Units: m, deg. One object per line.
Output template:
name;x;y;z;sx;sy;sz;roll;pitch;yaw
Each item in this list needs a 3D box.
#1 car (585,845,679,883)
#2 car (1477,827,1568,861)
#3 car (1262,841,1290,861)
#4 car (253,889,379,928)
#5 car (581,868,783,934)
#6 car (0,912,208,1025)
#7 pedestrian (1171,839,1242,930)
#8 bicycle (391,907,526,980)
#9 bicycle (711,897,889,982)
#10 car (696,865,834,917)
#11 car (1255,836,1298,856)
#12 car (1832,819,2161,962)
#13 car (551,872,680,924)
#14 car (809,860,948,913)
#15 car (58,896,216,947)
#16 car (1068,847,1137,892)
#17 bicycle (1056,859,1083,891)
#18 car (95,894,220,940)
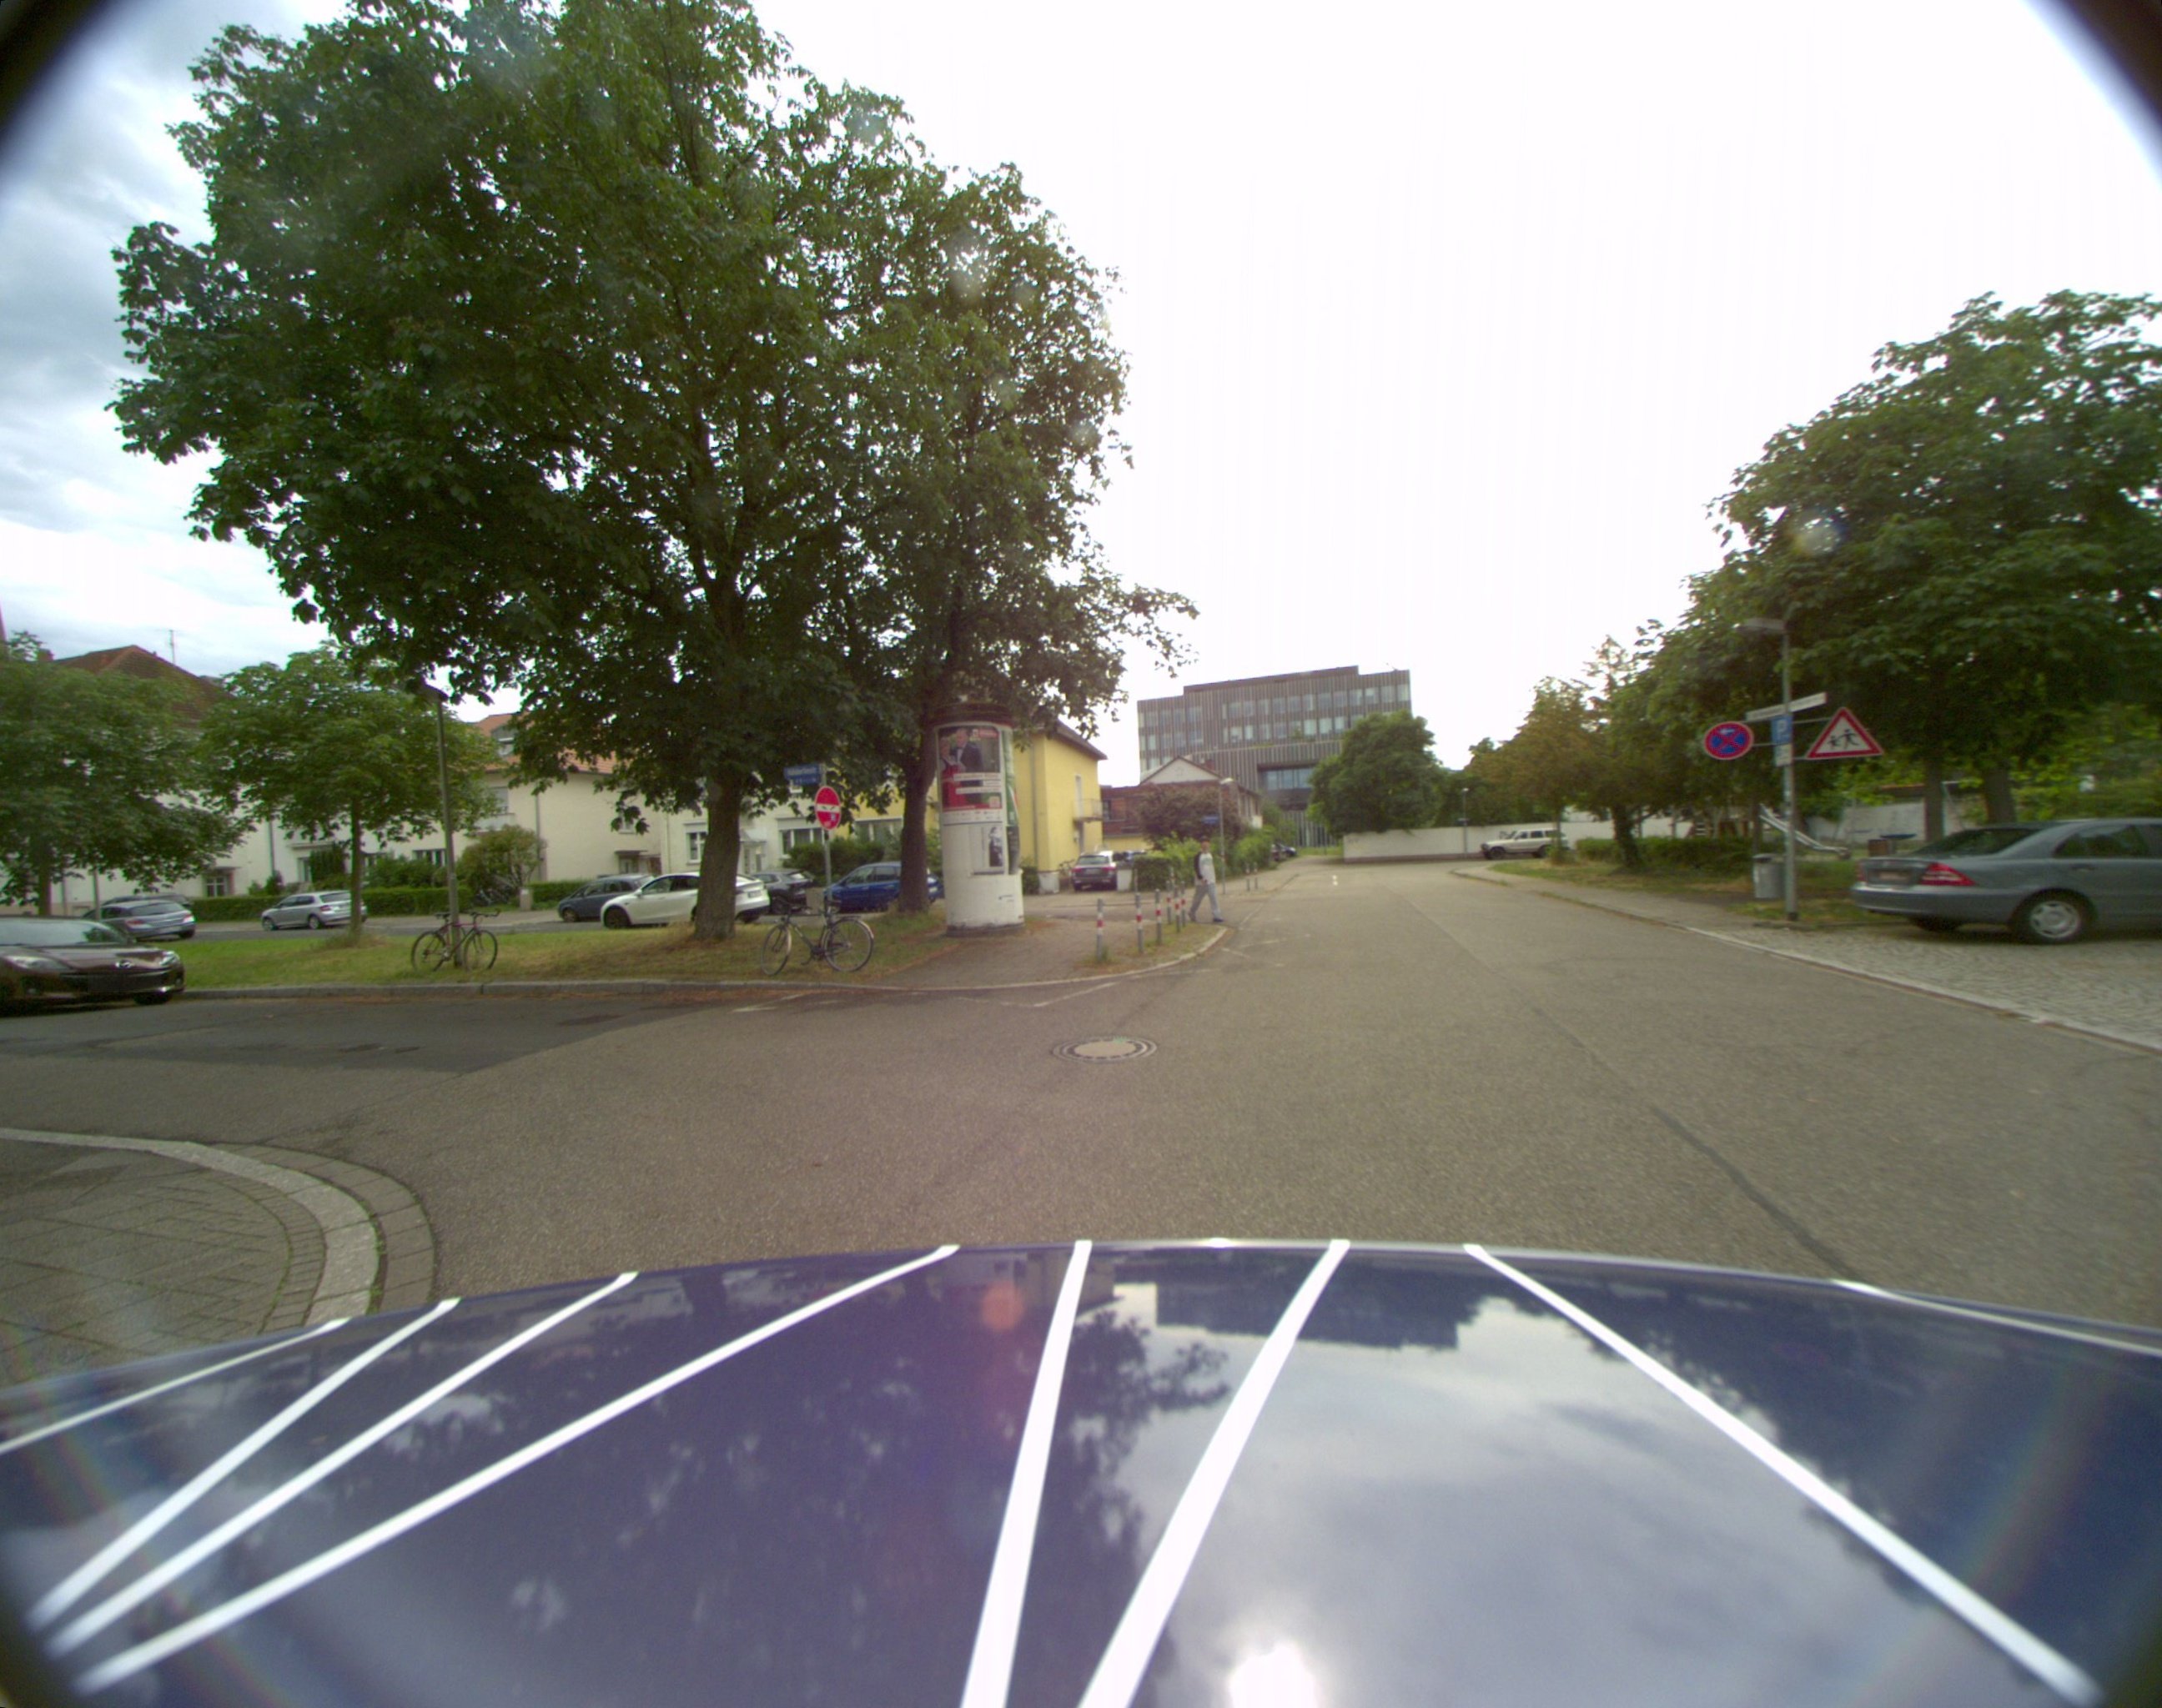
car;-24.057;0.498;40.893;1.996;1.718;4.002;-3;3;14
car;27.402;-0.633;47.304;4.486;1.849;2.001;-3;3;15
car;17.172;-0.276;66.770;1.996;1.390;4.003;-3;3;19
car;-31.632;2.252;31.466;3.934;1.347;1.806;-3;2;13
car;-11.135;1.303;21.315;4.875;1.557;1.904;-3;1;13
car;-15.599;1.665;11.260;4.155;1.448;1.719;-3;-4;13
pedestrian;2.673;0.626;16.282;0.880;1.825;1.216;-3;1;-29
bicycle;-10.030;1.437;12.255;1.881;1.060;0.668;-3;1;15
bicycle;-3.704;1.124;10.040;2.179;0.980;0.512;-3;3;11
car;-11.176;1.302;26.953;4.160;1.492;1.720;-3;3;13
car;19.860;-0.812;77.041;3.991;1.828;2.002;-3;3;20
car;12.274;0.366;9.002;4.552;1.446;1.681;-4;1;14
car;-17.317;1.627;28.325;3.879;1.593;1.720;-3;3;12
car;-6.824;1.100;25.717;4.202;1.558;1.706;-2;2;17
car;-32.786;2.335;26.420;3.999;1.480;1.806;-3;2;13
car;0.921;0.566;30.127;1.840;1.601;4.004;-2;0;14
bicycle;-0.445;0.823;30.675;0.482;1.187;2.179;-3;0;15
car;-41.464;2.827;34.149;4.094;1.665;1.806;-3;4;13
